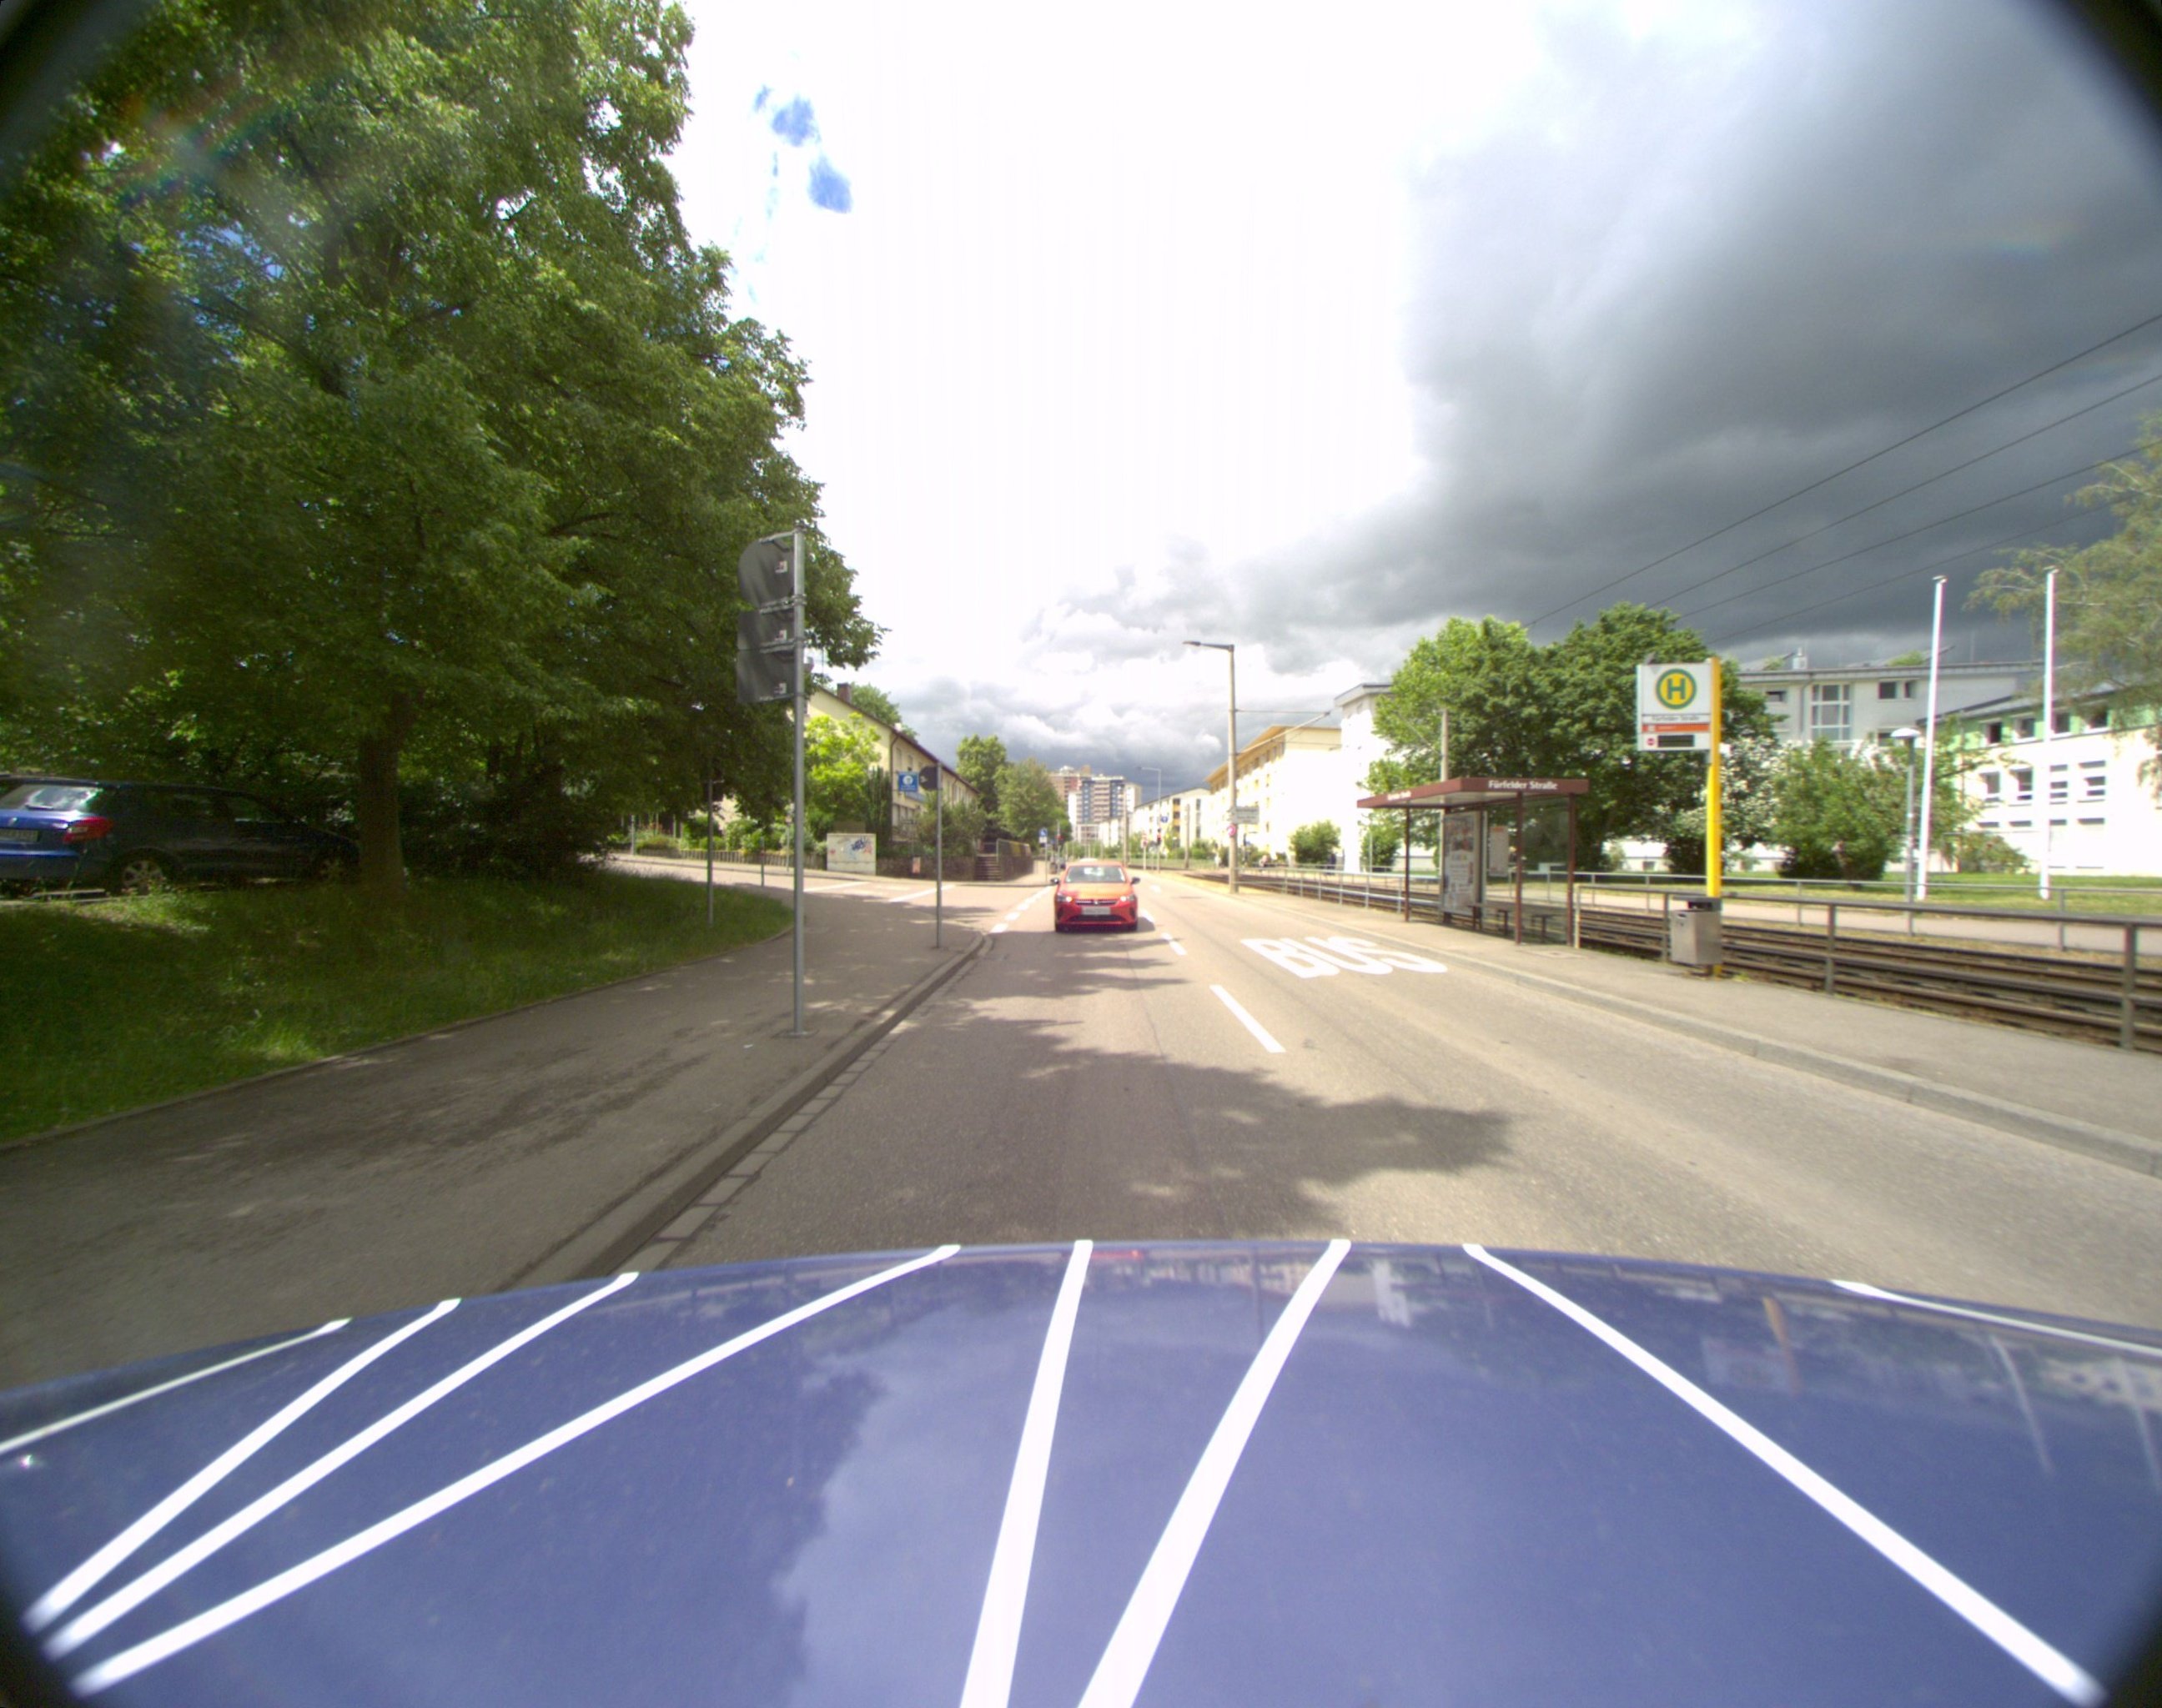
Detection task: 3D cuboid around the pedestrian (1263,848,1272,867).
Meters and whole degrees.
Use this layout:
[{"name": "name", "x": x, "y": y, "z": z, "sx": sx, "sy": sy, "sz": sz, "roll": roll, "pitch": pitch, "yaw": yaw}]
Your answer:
[{"name": "pedestrian", "x": 16.214, "y": 0.281, "z": 66.091, "sx": 0.647, "sy": 1.683, "sz": 0.679, "roll": -1, "pitch": 1, "yaw": 1}]

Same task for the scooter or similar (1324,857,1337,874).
[{"name": "scooter or similar", "x": 16.553, "y": 0.732, "z": 50.373, "sx": 0.606, "sy": 1.108, "sz": 0.821, "roll": -1, "pitch": 1, "yaw": -1}]

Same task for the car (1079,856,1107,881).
[{"name": "car", "x": 0.715, "y": 0.856, "z": 47.285, "sx": 1.499, "sy": 1.477, "sz": 3.519, "roll": 0, "pitch": 0, "yaw": -3}]

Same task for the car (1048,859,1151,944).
[{"name": "car", "x": 0.244, "y": 0.875, "z": 15.829, "sx": 1.783, "sy": 1.434, "sz": 4.129, "roll": -2, "pitch": 0, "yaw": -3}]

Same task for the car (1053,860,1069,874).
[{"name": "car", "x": -2.349, "y": 1.459, "z": 87.947, "sx": 1.760, "sy": 1.570, "sz": 4.020, "roll": 0, "pitch": 0, "yaw": -3}]

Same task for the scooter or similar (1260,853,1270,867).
[{"name": "scooter or similar", "x": 16.202, "y": 0.513, "z": 66.894, "sx": 0.609, "sy": 1.156, "sz": 0.892, "roll": -1, "pitch": 1, "yaw": 1}]

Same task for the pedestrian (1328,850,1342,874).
[{"name": "pedestrian", "x": 16.568, "y": 0.530, "z": 49.517, "sx": 0.614, "sy": 1.531, "sz": 0.874, "roll": -1, "pitch": 1, "yaw": -1}]

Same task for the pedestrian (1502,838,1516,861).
[{"name": "pedestrian", "x": 28.479, "y": -0.302, "z": 50.571, "sx": 0.685, "sy": 1.534, "sz": 0.514, "roll": -2, "pitch": 6, "yaw": 6}]

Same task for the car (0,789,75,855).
[{"name": "car", "x": -26.440, "y": -0.794, "z": 17.334, "sx": 1.640, "sy": 1.576, "sz": 3.982, "roll": 3, "pitch": 0, "yaw": 0}]

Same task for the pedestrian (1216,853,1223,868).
[{"name": "pedestrian", "x": 14.913, "y": 0.674, "z": 81.748, "sx": 0.605, "sy": 1.598, "sz": 0.773, "roll": -2, "pitch": 1, "yaw": -1}]

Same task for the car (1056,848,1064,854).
[{"name": "car", "x": -6.815, "y": -0.952, "z": 244.552, "sx": 2.237, "sy": 2.050, "sz": 4.360, "roll": 0, "pitch": 0, "yaw": -3}]

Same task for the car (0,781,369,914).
[{"name": "car", "x": -12.564, "y": -0.145, "z": 10.535, "sx": 1.828, "sy": 1.503, "sz": 3.812, "roll": 1, "pitch": 2, "yaw": -2}]

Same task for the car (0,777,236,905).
[{"name": "car", "x": -14.709, "y": -0.233, "z": 10.527, "sx": 1.683, "sy": 1.626, "sz": 3.904, "roll": 4, "pitch": 2, "yaw": -2}]
